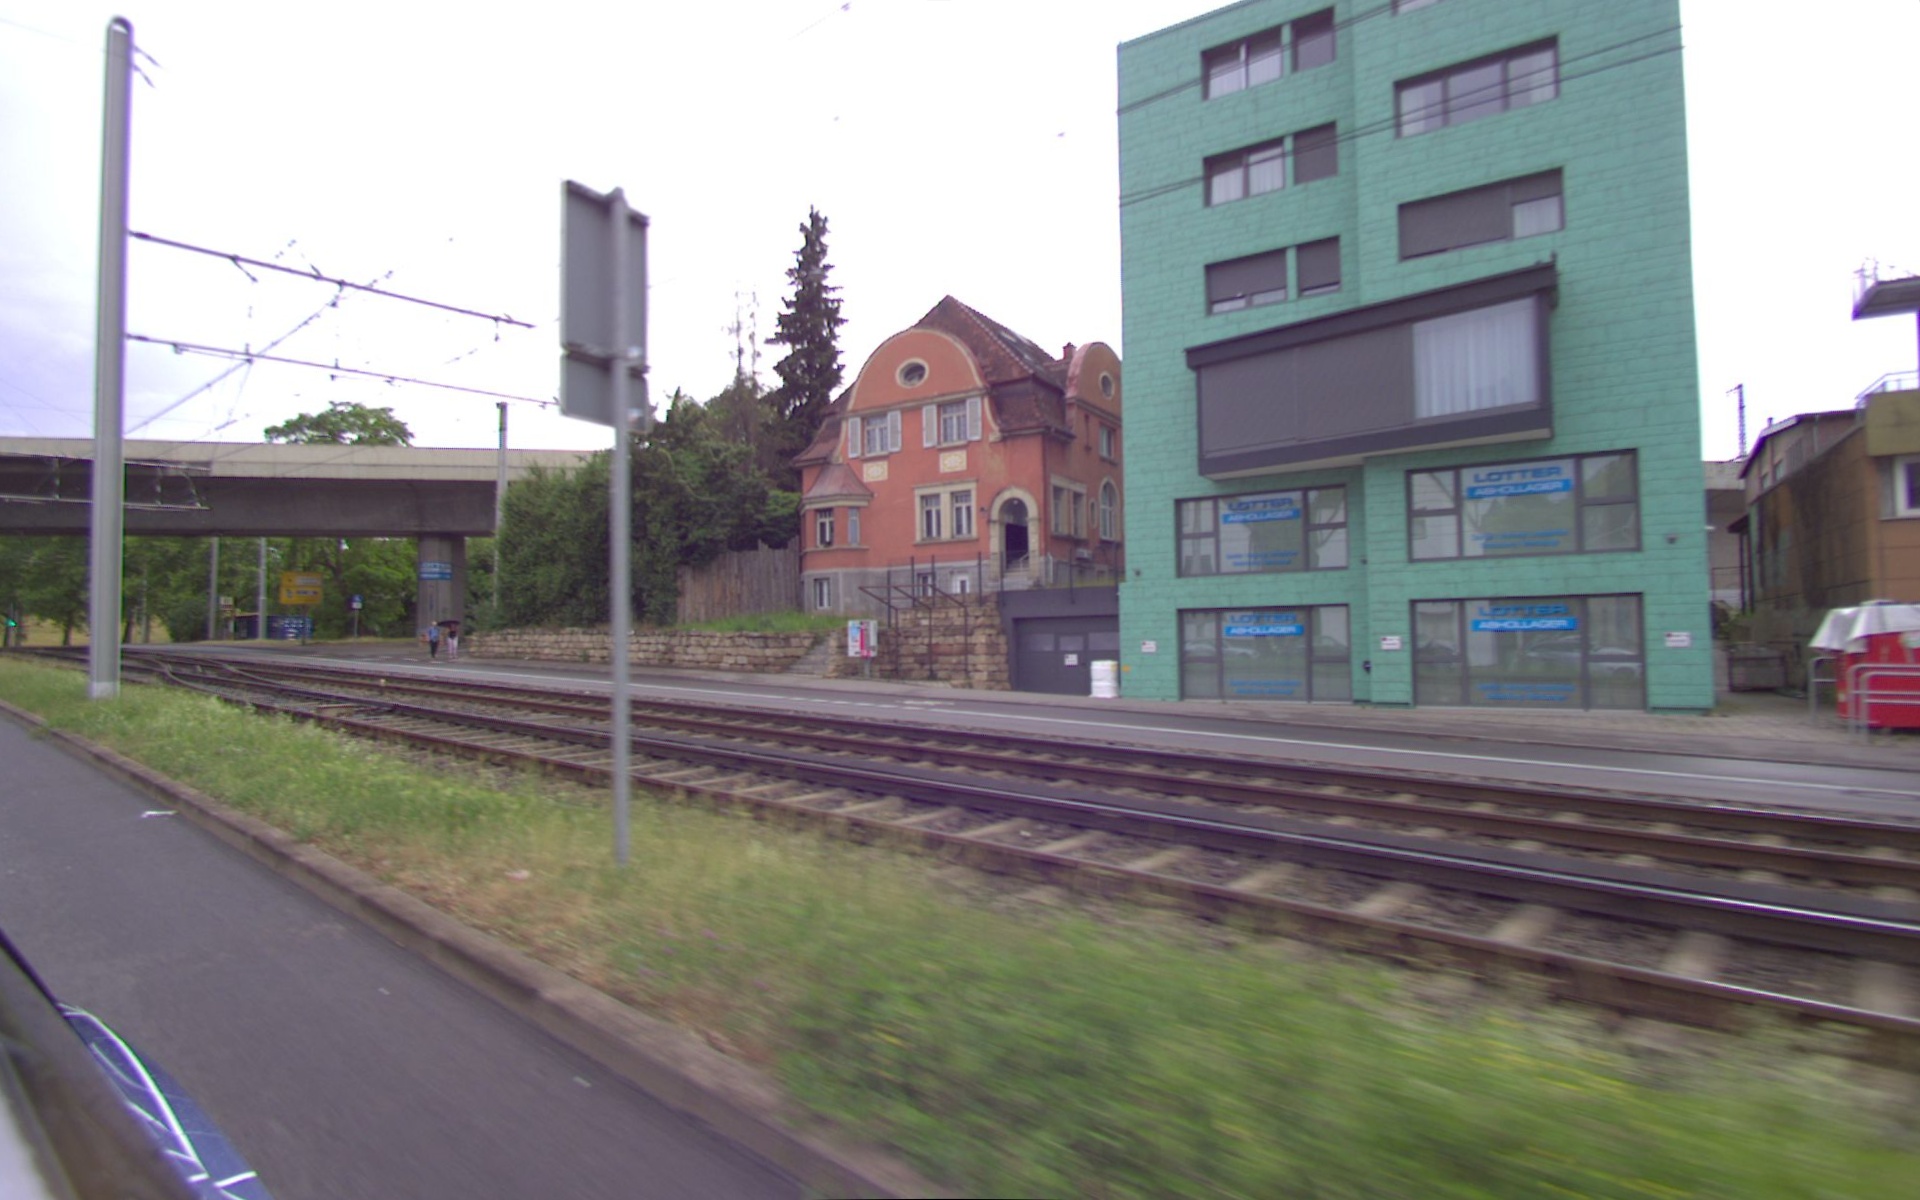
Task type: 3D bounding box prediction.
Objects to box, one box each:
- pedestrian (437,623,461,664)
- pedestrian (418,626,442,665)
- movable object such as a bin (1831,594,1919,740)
[{"bbox_3d":[-23.347,1.994,46.257,0.866,1.845,0.686,-3,-3,42],"label":"pedestrian"},{"bbox_3d":[-23.676,2.036,45.224,0.888,1.683,0.685,-3,-3,44],"label":"pedestrian"},{"bbox_3d":[15.212,1.008,16.002,1.797,2.173,2.117,-3,-1,33],"label":"movable object such as a bin"}]
